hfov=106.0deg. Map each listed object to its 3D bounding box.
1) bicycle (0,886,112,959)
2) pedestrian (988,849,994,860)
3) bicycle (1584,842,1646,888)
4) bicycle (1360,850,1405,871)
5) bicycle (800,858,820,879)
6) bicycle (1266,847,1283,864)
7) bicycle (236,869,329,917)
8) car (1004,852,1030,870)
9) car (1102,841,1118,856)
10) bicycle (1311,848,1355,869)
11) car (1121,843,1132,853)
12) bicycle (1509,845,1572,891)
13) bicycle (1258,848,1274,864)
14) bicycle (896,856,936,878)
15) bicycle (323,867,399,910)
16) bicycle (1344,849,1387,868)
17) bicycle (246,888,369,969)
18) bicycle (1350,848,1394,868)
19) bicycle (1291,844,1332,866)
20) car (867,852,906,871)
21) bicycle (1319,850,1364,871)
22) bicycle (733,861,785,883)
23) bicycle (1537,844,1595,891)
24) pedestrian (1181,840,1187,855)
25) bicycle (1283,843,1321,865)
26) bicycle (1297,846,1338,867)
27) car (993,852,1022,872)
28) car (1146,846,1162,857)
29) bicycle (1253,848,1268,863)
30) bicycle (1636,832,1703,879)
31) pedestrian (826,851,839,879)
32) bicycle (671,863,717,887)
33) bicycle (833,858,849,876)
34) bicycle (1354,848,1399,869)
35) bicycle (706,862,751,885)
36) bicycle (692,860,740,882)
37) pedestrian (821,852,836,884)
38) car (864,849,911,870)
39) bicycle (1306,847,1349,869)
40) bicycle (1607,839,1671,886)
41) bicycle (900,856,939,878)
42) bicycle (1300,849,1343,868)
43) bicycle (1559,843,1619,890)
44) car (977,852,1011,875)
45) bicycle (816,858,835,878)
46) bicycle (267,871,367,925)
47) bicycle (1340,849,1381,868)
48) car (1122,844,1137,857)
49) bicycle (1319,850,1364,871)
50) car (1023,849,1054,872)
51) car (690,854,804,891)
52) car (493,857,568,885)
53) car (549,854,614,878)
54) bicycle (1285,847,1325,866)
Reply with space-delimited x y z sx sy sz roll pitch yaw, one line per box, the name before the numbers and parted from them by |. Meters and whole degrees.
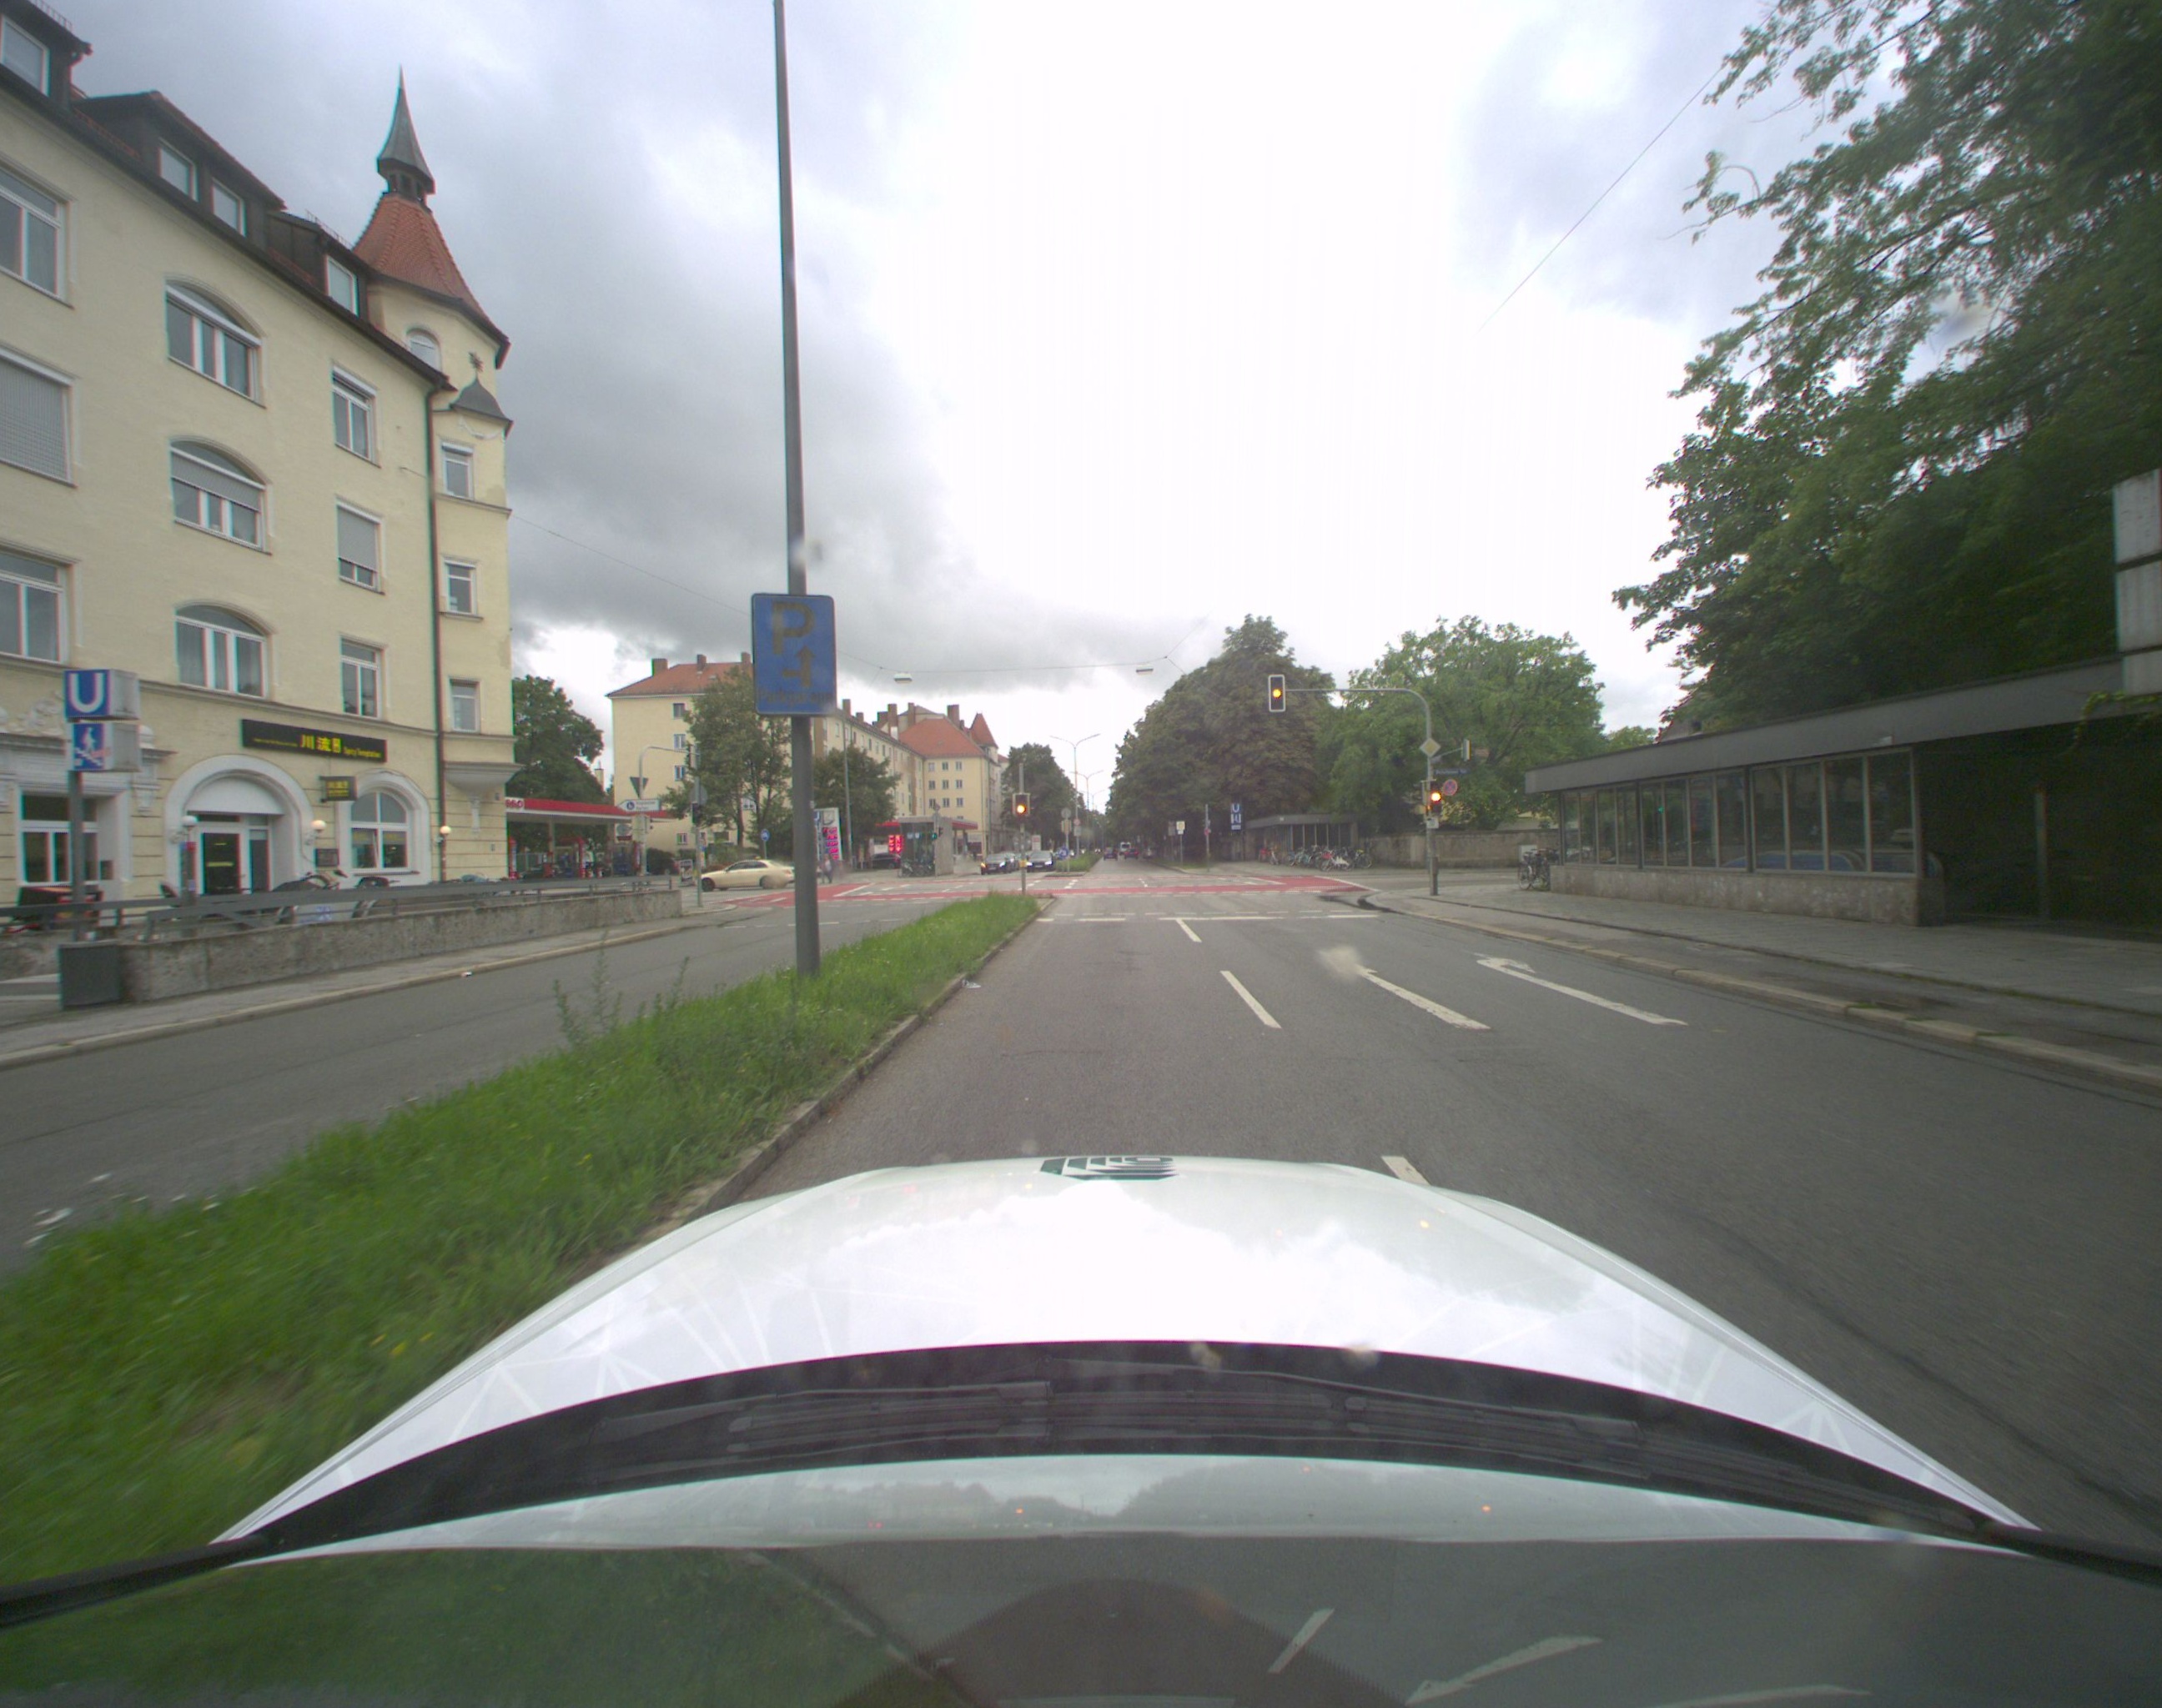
bicycle | -15.736 1.016 12.214 0.471 0.980 1.546 -2 0 2
pedestrian | -12.870 0.053 115.994 0.693 1.638 0.738 -2 0 2
bicycle | 13.526 0.272 20.686 0.467 1.121 1.736 -2 0 2
bicycle | 15.702 0.340 42.460 2.130 1.014 0.636 -2 0 10
bicycle | -16.992 0.909 51.142 0.607 1.236 2.184 -2 0 -4
bicycle | 12.046 0.106 50.736 0.555 1.014 2.015 -2 0 0
bicycle | -17.859 0.853 18.260 0.471 0.980 1.546 -2 0 2
car | -5.530 0.616 70.797 1.753 1.460 4.002 -2 0 2
car | 3.586 -0.705 99.992 1.850 1.684 4.002 -2 0 2
bicycle | 13.313 0.232 43.034 2.130 1.071 0.604 -2 0 10
car | 8.888 -1.133 158.360 1.986 1.756 4.002 -2 0 2
bicycle | 11.654 0.346 20.724 0.597 1.121 1.891 -2 0 2
bicycle | 12.152 0.096 53.467 0.555 1.014 2.015 -2 0 0
bicycle | -10.163 0.798 50.278 2.262 1.304 0.705 -2 0 3
bicycle | -18.129 0.857 20.543 0.471 0.980 1.546 -2 0 2
bicycle | 15.664 0.239 44.822 2.130 1.014 0.636 -2 0 10
bicycle | -12.405 1.157 13.130 0.395 1.115 1.810 -2 0 -6
bicycle | 15.714 0.241 44.025 2.130 1.014 0.636 -2 0 10
bicycle | 12.983 0.079 45.884 2.130 1.178 0.604 -2 0 10
car | -22.346 0.817 93.477 3.977 2.013 1.890 -2 0 -3
bicycle | 13.505 0.314 42.223 2.130 1.014 0.636 -2 0 10
bicycle | -18.757 1.042 47.442 2.719 1.251 0.786 0 0 -29
bicycle | 12.308 0.338 20.722 0.467 1.121 1.736 -2 0 2
pedestrian | 12.032 -0.733 94.874 0.674 1.682 0.684 -2 0 8
bicycle | 13.069 0.006 48.185 2.130 1.218 0.604 -2 0 10
bicycle | 13.087 0.153 45.142 2.130 1.086 0.604 -2 0 10
car | -5.747 0.609 63.798 1.753 1.460 4.002 -2 0 2
car | 9.325 -0.305 104.299 1.736 1.363 3.808 -2 0 2
bicycle | 12.519 0.090 56.770 0.555 1.014 2.015 -2 0 0
bicycle | 14.876 0.040 20.642 0.467 1.121 1.736 -2 0 2
pedestrian | -15.318 0.678 50.214 0.593 1.695 0.572 -2 0 -29
bicycle | -22.008 1.188 46.368 2.178 1.236 0.764 -2 0 -8
bicycle | -16.480 0.898 56.029 0.607 1.145 1.963 -2 0 -4
bicycle | 15.679 0.239 43.258 2.130 1.014 0.636 -2 0 10
bicycle | -20.074 1.121 46.399 2.180 1.236 0.763 -2 0 -10
bicycle | -21.054 0.954 47.067 2.393 1.251 0.789 0 0 -9
pedestrian | -13.919 0.774 44.853 0.530 1.695 0.579 -2 0 13
car | -18.399 0.519 77.642 3.975 1.837 1.880 -2 0 -1
bicycle | 13.201 0.223 43.693 2.130 1.101 0.604 -2 0 10
bicycle | 14.122 0.211 20.672 0.467 1.121 1.736 -2 0 2
bicycle | -10.107 0.818 51.057 2.275 1.304 0.694 -2 0 3
bicycle | 13.101 0.249 44.412 2.130 1.014 0.604 -2 0 10
bicycle | 12.885 0.309 20.710 0.467 1.121 1.736 -2 0 2
car | -6.019 0.616 56.707 1.753 1.460 4.002 -2 0 2
bicycle | -16.304 0.887 51.950 0.607 1.236 2.184 -2 0 -4
bicycle | -15.181 0.852 16.233 0.471 0.980 1.546 -2 0 2
bicycle | 15.641 0.237 45.608 2.130 1.014 0.636 -2 0 10
car | 6.503 -0.502 109.084 1.915 1.684 4.002 0 0 2
bicycle | 13.282 0.311 41.605 2.130 1.014 0.604 -2 0 10
car | -2.916 0.456 56.948 1.753 1.493 4.002 -2 0 2
car | -16.252 0.869 39.729 4.749 1.646 1.785 -1 0 0
car | -38.750 1.181 57.381 3.972 1.784 1.858 -2 0 1
car | -39.334 0.929 64.191 3.972 1.784 1.858 -2 0 1
bicycle | 13.045 0.154 47.467 2.130 1.014 0.604 -2 0 10
